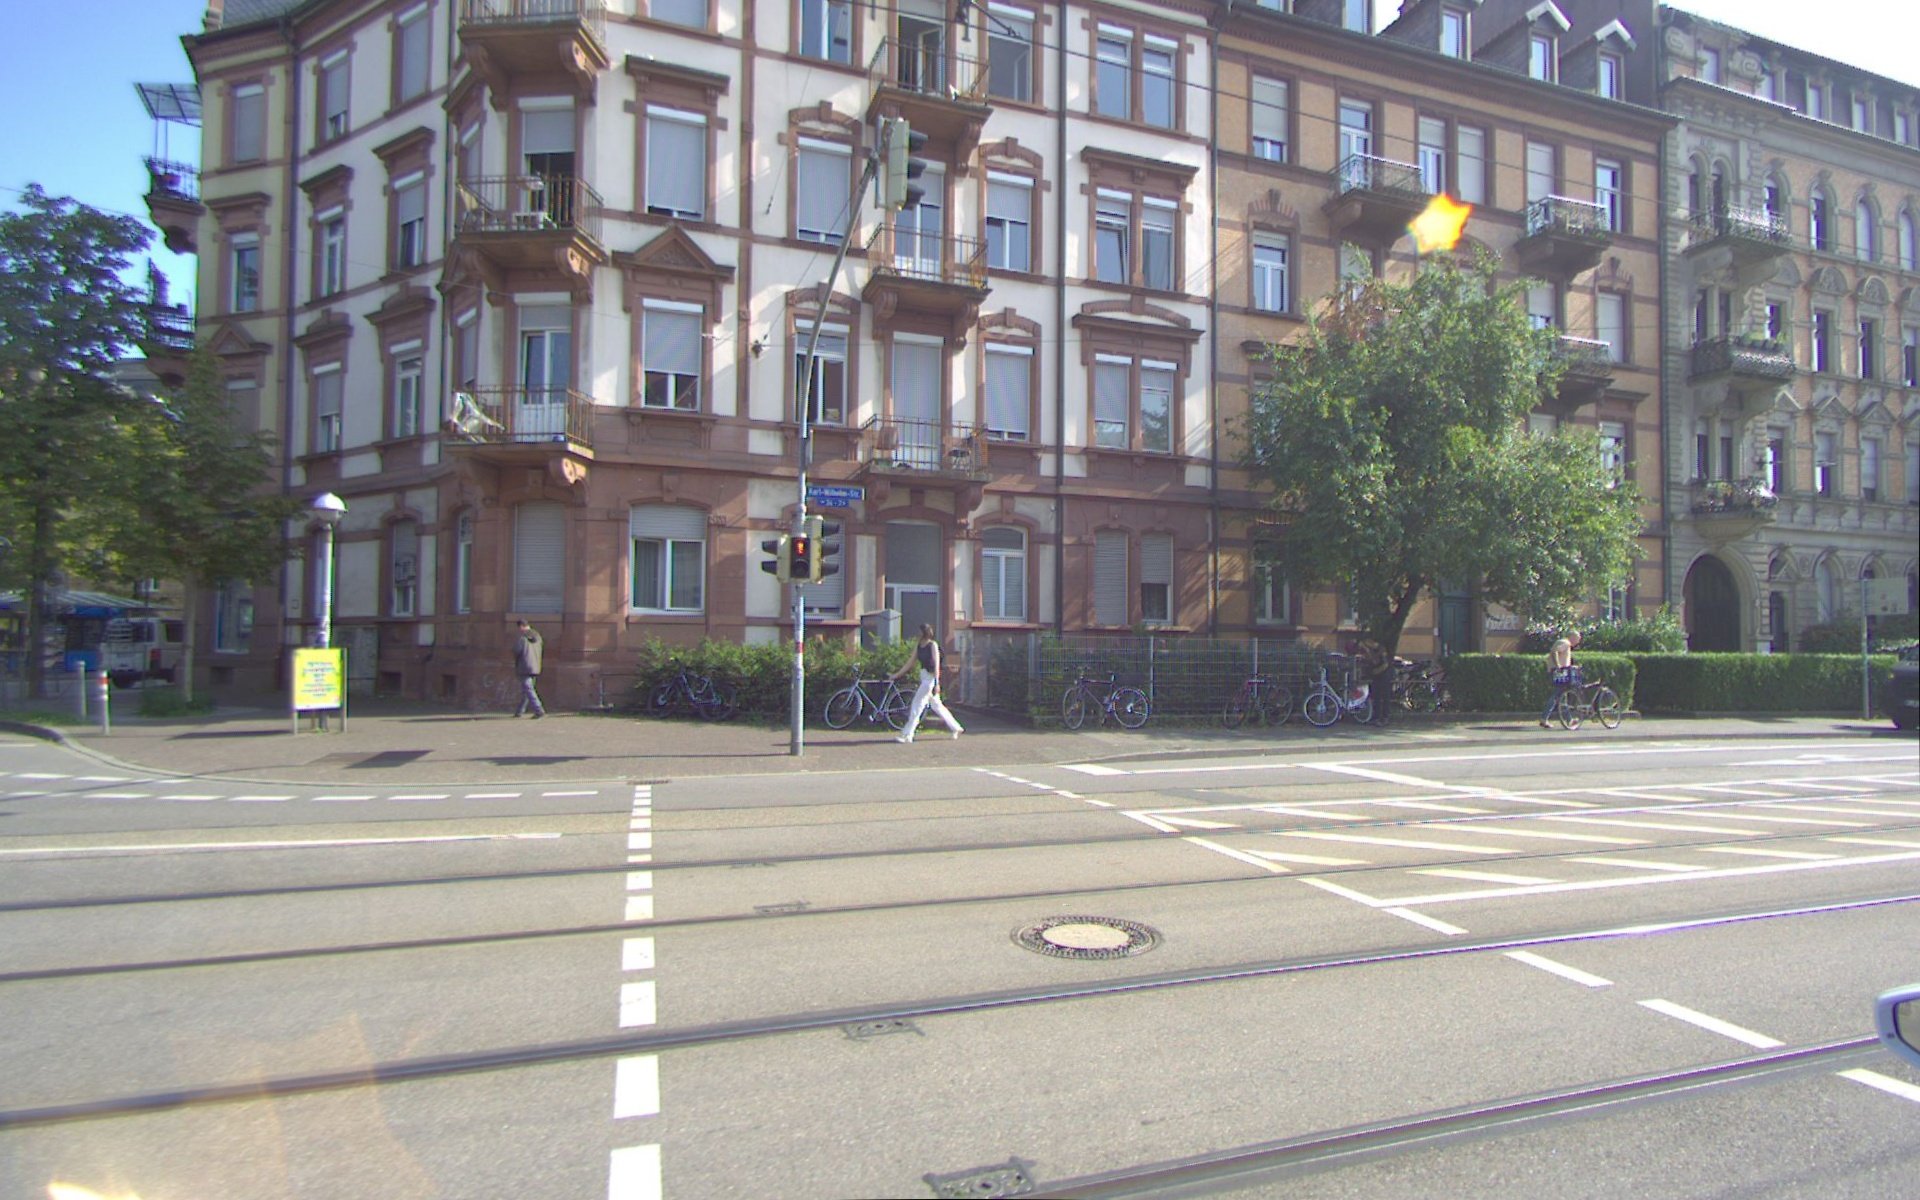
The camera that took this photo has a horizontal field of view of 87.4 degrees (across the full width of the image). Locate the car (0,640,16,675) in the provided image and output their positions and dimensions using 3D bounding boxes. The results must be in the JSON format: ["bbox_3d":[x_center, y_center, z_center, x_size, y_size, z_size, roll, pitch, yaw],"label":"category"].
[{"bbox_3d":[-49.823,2.842,49.501,2.038,1.815,4.595,0,-3,4],"label":"car"}]

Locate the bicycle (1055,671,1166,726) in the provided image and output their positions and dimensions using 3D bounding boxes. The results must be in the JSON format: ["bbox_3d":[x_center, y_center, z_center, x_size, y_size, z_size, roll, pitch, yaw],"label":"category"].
[{"bbox_3d":[2.515,1.638,16.788,1.798,0.871,0.526,1,-2,-17],"label":"bicycle"}]

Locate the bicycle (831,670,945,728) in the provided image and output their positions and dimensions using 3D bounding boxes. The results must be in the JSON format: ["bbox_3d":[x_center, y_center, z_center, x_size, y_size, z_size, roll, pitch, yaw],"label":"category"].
[{"bbox_3d":[-1.171,1.585,16.293,1.792,0.871,0.528,-1,-2,19],"label":"bicycle"}]

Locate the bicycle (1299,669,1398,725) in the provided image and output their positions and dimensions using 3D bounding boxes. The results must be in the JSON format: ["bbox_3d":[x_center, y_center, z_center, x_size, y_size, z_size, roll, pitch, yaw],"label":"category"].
[{"bbox_3d":[6.921,1.714,17.901,1.675,0.939,0.526,1,-2,-17],"label":"bicycle"}]

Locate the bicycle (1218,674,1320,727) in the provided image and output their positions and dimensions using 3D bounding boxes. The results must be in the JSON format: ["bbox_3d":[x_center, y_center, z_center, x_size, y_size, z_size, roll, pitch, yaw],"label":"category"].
[{"bbox_3d":[5.343,1.720,17.361,1.675,0.871,0.526,1,-2,-17],"label":"bicycle"}]

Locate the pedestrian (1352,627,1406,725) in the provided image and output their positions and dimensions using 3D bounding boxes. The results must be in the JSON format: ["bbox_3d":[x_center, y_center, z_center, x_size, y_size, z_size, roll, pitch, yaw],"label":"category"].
[{"bbox_3d":[7.487,1.339,17.941,0.626,1.700,0.633,2,-3,-31],"label":"pedestrian"}]

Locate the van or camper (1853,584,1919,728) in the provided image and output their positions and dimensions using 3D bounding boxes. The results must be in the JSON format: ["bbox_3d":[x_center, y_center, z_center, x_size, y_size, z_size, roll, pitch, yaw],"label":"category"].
[{"bbox_3d":[20.824,1.136,19.513,5.984,2.678,2.053,2,-3,-13],"label":"van or camper"}]

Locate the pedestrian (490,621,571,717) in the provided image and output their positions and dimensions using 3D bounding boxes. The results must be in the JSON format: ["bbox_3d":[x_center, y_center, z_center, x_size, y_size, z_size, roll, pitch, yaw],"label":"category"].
[{"bbox_3d":[-7.358,1.167,17.248,0.926,1.591,0.842,0,-2,14],"label":"pedestrian"}]

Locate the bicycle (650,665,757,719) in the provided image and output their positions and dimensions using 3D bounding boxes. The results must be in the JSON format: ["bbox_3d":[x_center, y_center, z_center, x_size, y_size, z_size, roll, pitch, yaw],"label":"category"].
[{"bbox_3d":[-4.406,1.567,17.253,1.792,0.871,0.528,-1,-2,19],"label":"bicycle"}]

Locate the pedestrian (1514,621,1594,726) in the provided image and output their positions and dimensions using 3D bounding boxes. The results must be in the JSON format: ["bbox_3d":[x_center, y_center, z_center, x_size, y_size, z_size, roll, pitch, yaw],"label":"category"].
[{"bbox_3d":[10.748,1.319,18.192,1.077,1.830,0.726,1,-2,-21],"label":"pedestrian"}]

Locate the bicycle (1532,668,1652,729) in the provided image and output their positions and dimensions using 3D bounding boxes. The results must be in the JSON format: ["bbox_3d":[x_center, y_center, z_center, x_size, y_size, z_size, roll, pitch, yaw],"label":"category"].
[{"bbox_3d":[11.153,1.724,17.712,2.118,1.020,0.618,1,-3,-20],"label":"bicycle"}]

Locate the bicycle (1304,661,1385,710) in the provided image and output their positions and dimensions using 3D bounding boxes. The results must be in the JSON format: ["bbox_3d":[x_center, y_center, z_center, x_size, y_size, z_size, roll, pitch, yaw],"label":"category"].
[{"bbox_3d":[7.433,1.640,19.488,0.520,0.871,1.696,1,-2,-18],"label":"bicycle"}]

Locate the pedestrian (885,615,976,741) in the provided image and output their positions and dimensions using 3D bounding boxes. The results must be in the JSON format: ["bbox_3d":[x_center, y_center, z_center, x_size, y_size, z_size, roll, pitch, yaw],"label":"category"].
[{"bbox_3d":[-0.450,1.138,14.931,1.166,1.789,0.905,1,-2,-16],"label":"pedestrian"}]

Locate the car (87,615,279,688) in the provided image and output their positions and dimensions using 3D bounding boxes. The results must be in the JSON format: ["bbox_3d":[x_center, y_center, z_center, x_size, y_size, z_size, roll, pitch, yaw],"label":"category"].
[{"bbox_3d":[-23.531,1.557,30.689,2.038,2.043,4.595,0,-3,4],"label":"car"}]
